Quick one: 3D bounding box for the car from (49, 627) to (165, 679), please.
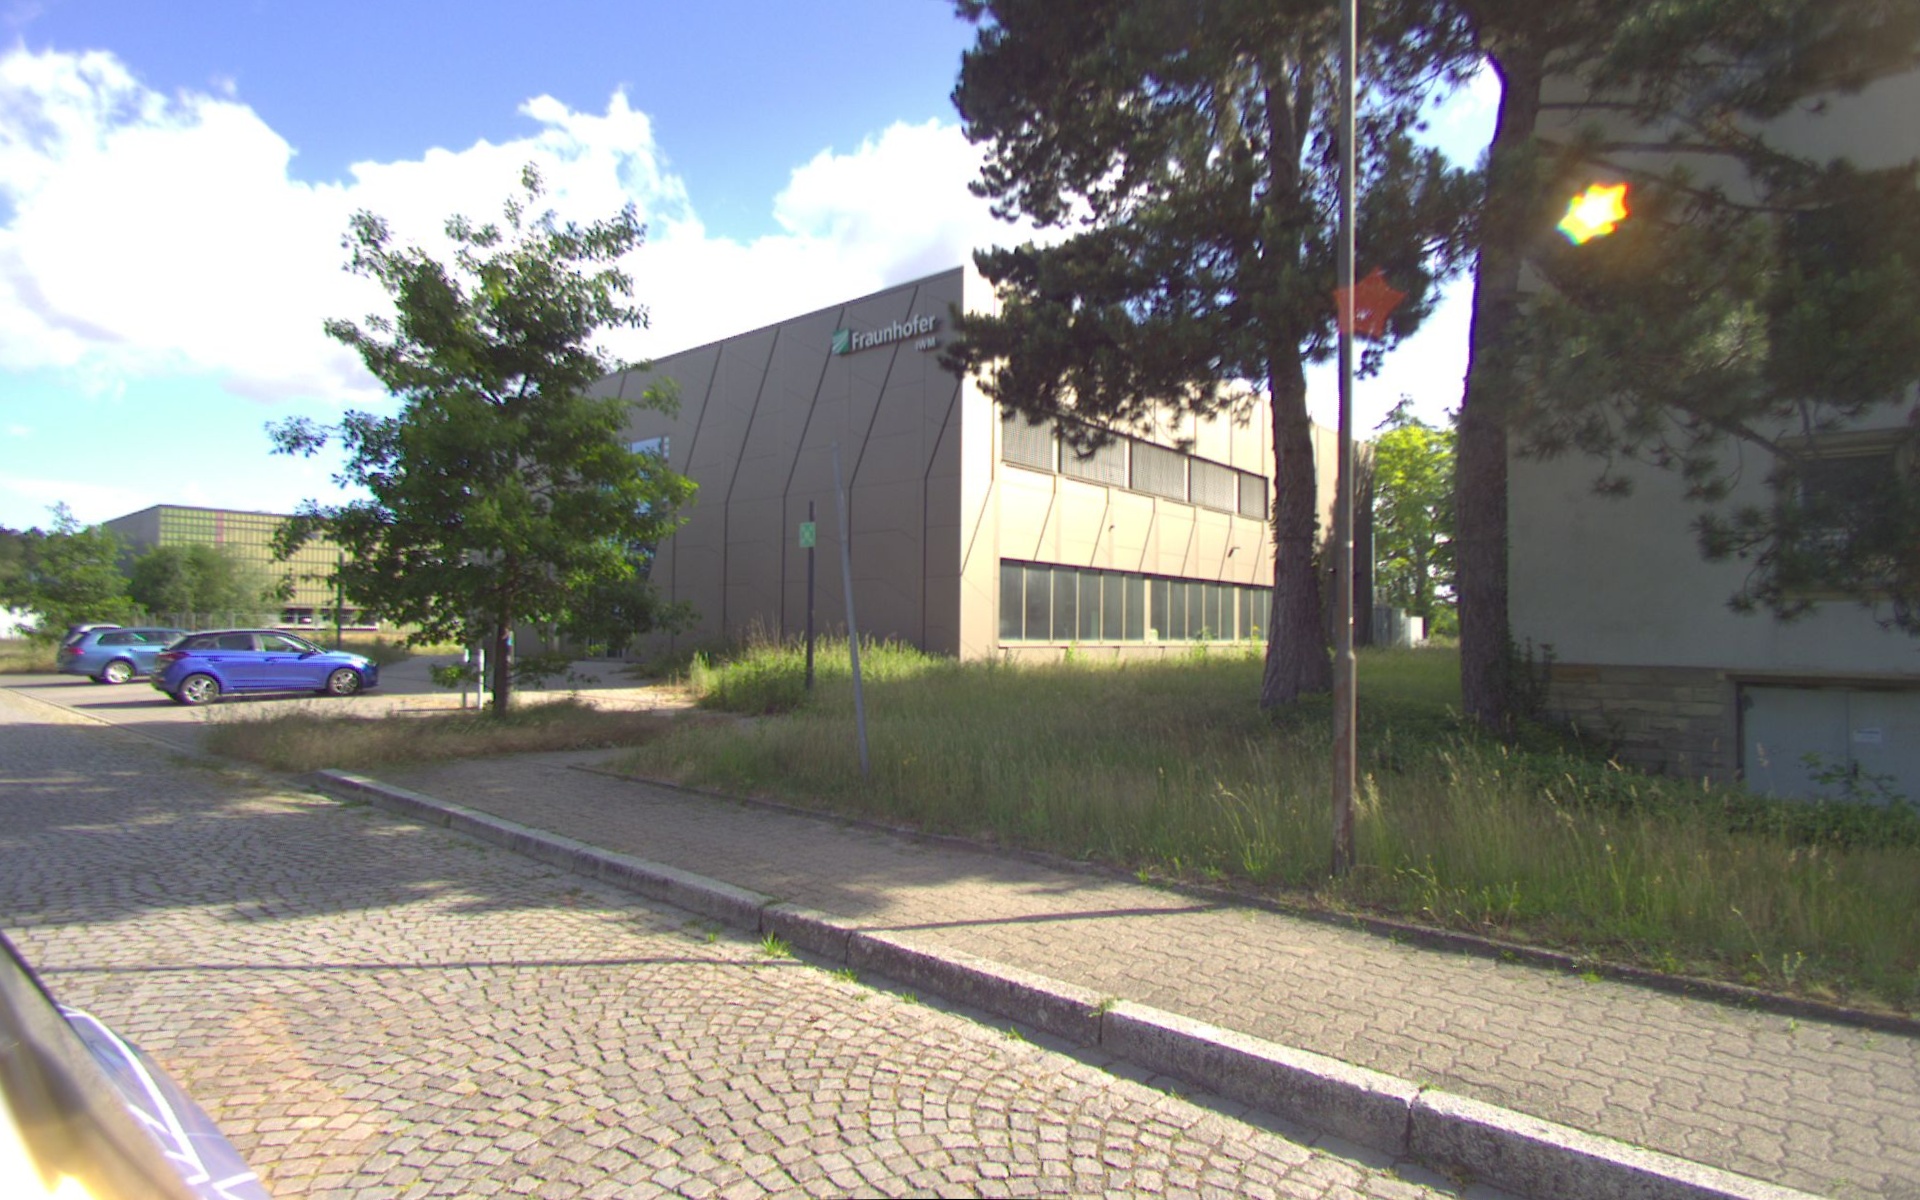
[{"bbox_3d":[-27.390,1.659,32.530,1.480,1.580,2.619,-1,-2,39],"label":"car"}]

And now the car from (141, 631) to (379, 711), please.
[{"bbox_3d":[-14.730,1.415,21.431,1.735,1.479,3.866,-1,-2,43],"label":"car"}]

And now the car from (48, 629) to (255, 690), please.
[{"bbox_3d":[-21.955,1.569,27.624,1.732,1.485,4.128,-1,-1,38],"label":"car"}]
